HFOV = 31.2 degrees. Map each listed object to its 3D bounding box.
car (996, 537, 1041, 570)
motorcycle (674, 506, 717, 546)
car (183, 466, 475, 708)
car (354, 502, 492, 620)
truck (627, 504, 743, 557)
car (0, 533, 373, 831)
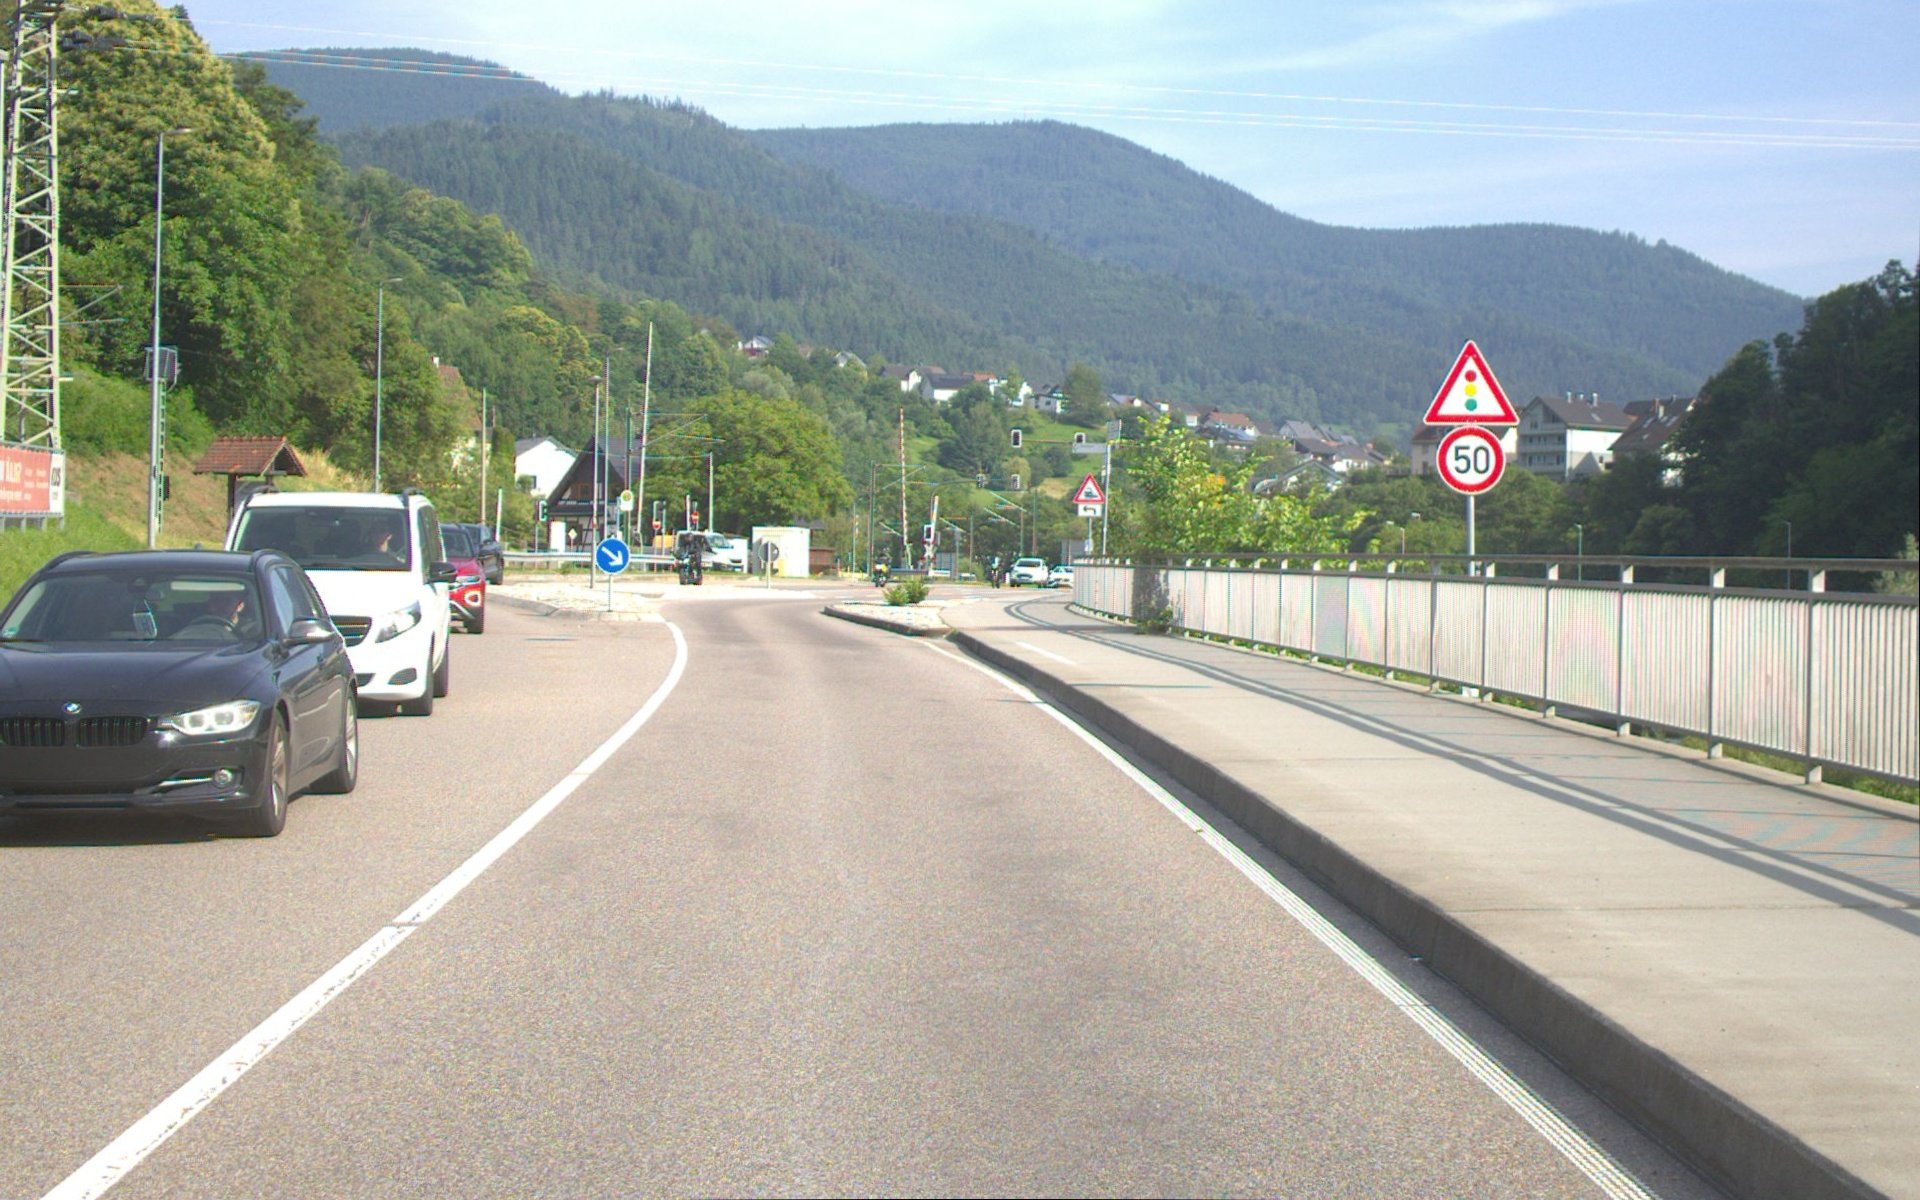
[{"bbox_3d":[3.233,-2.552,190.333,1.765,1.555,3.997,0,-3,11],"label":"car"},{"bbox_3d":[-8.185,-2.296,106.457,0.894,1.179,2.306,2,1,-15],"label":"motorcycle"},{"bbox_3d":[-5.372,-0.148,29.890,1.896,1.881,5.297,1,1,-4],"label":"car"},{"bbox_3d":[-7.722,-0.588,49.677,1.705,1.578,4.160,2,1,-6],"label":"car"},{"bbox_3d":[-13.449,-3.402,167.725,5.999,2.258,1.995,6,4,42],"label":"truck"},{"bbox_3d":[-4.310,0.348,18.337,1.773,1.394,4.234,0,1,-2],"label":"car"}]
